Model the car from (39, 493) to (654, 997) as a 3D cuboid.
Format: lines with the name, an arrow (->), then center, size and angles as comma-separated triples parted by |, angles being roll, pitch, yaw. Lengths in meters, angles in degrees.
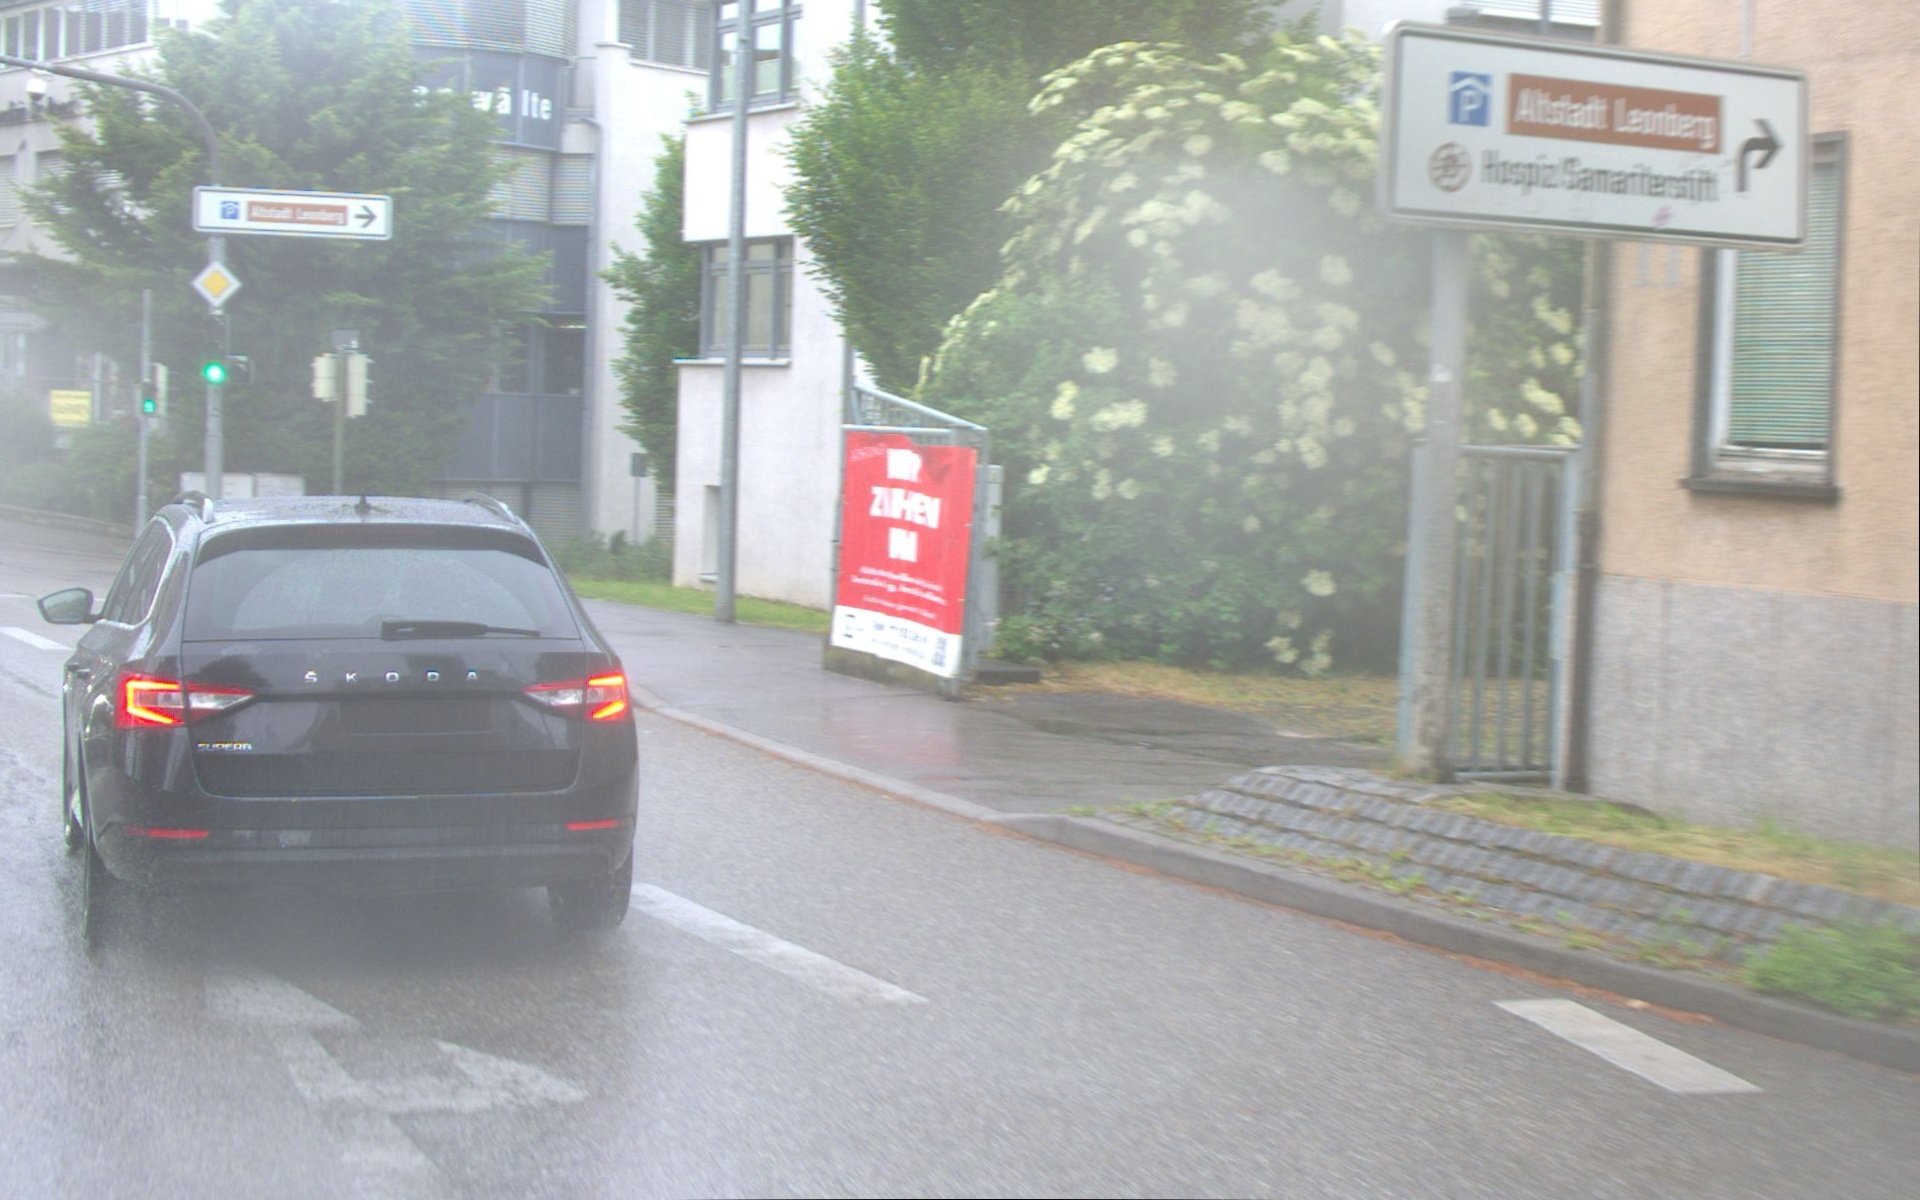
car -> -2.397, 0.376, 12.539 | 1.781, 1.478, 4.247 | -1, 2, -16
